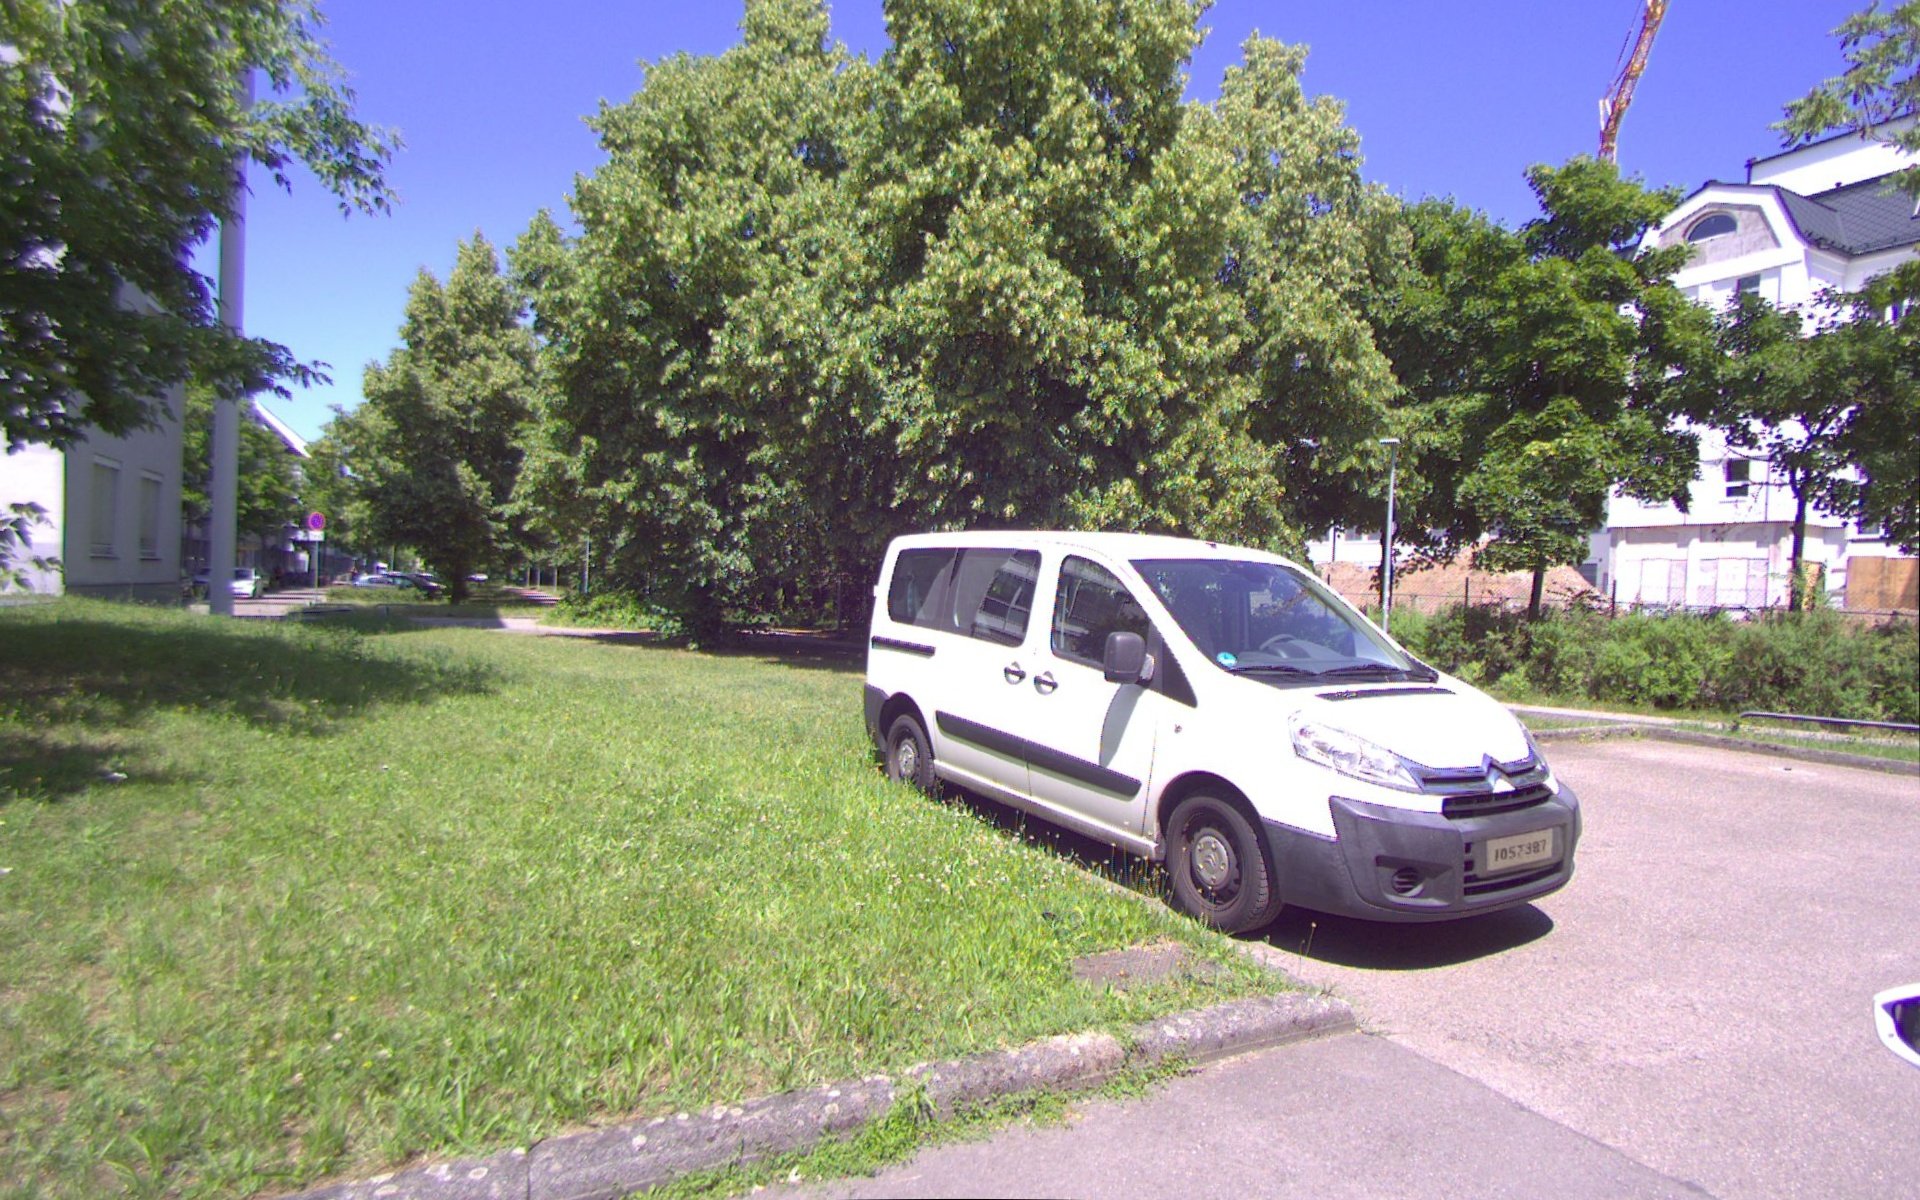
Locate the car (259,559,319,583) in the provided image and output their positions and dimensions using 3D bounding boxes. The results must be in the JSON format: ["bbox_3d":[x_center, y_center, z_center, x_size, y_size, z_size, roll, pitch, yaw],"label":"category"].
[{"bbox_3d":[-55.157,-2.357,82.631,3.959,1.756,1.775,3,1,-34],"label":"car"}]

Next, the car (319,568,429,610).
[{"bbox_3d":[-26.217,-0.480,45.086,4.122,1.639,1.960,3,0,-30],"label":"car"}]

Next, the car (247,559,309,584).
[{"bbox_3d":[-54.408,-2.290,80.214,3.959,1.756,1.775,3,1,-34],"label":"car"}]

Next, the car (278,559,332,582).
[{"bbox_3d":[-57.917,-2.593,88.851,3.959,1.756,1.775,3,1,-34],"label":"car"}]

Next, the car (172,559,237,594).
[{"bbox_3d":[-39.290,-1.222,52.345,1.952,1.639,4.141,3,0,-27],"label":"car"}]

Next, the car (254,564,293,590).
[{"bbox_3d":[-48.596,-1.645,71.175,1.954,1.639,4.135,3,0,-31],"label":"car"}]

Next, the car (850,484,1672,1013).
[{"bbox_3d":[1.247,0.515,6.234,1.978,1.937,4.762,1,1,-31],"label":"car"}]

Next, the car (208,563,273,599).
[{"bbox_3d":[-35.810,-0.958,50.085,1.951,1.639,4.142,3,0,-27],"label":"car"}]

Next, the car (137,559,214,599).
[{"bbox_3d":[-36.272,-0.971,46.545,1.951,1.639,4.142,3,0,-27],"label":"car"}]
